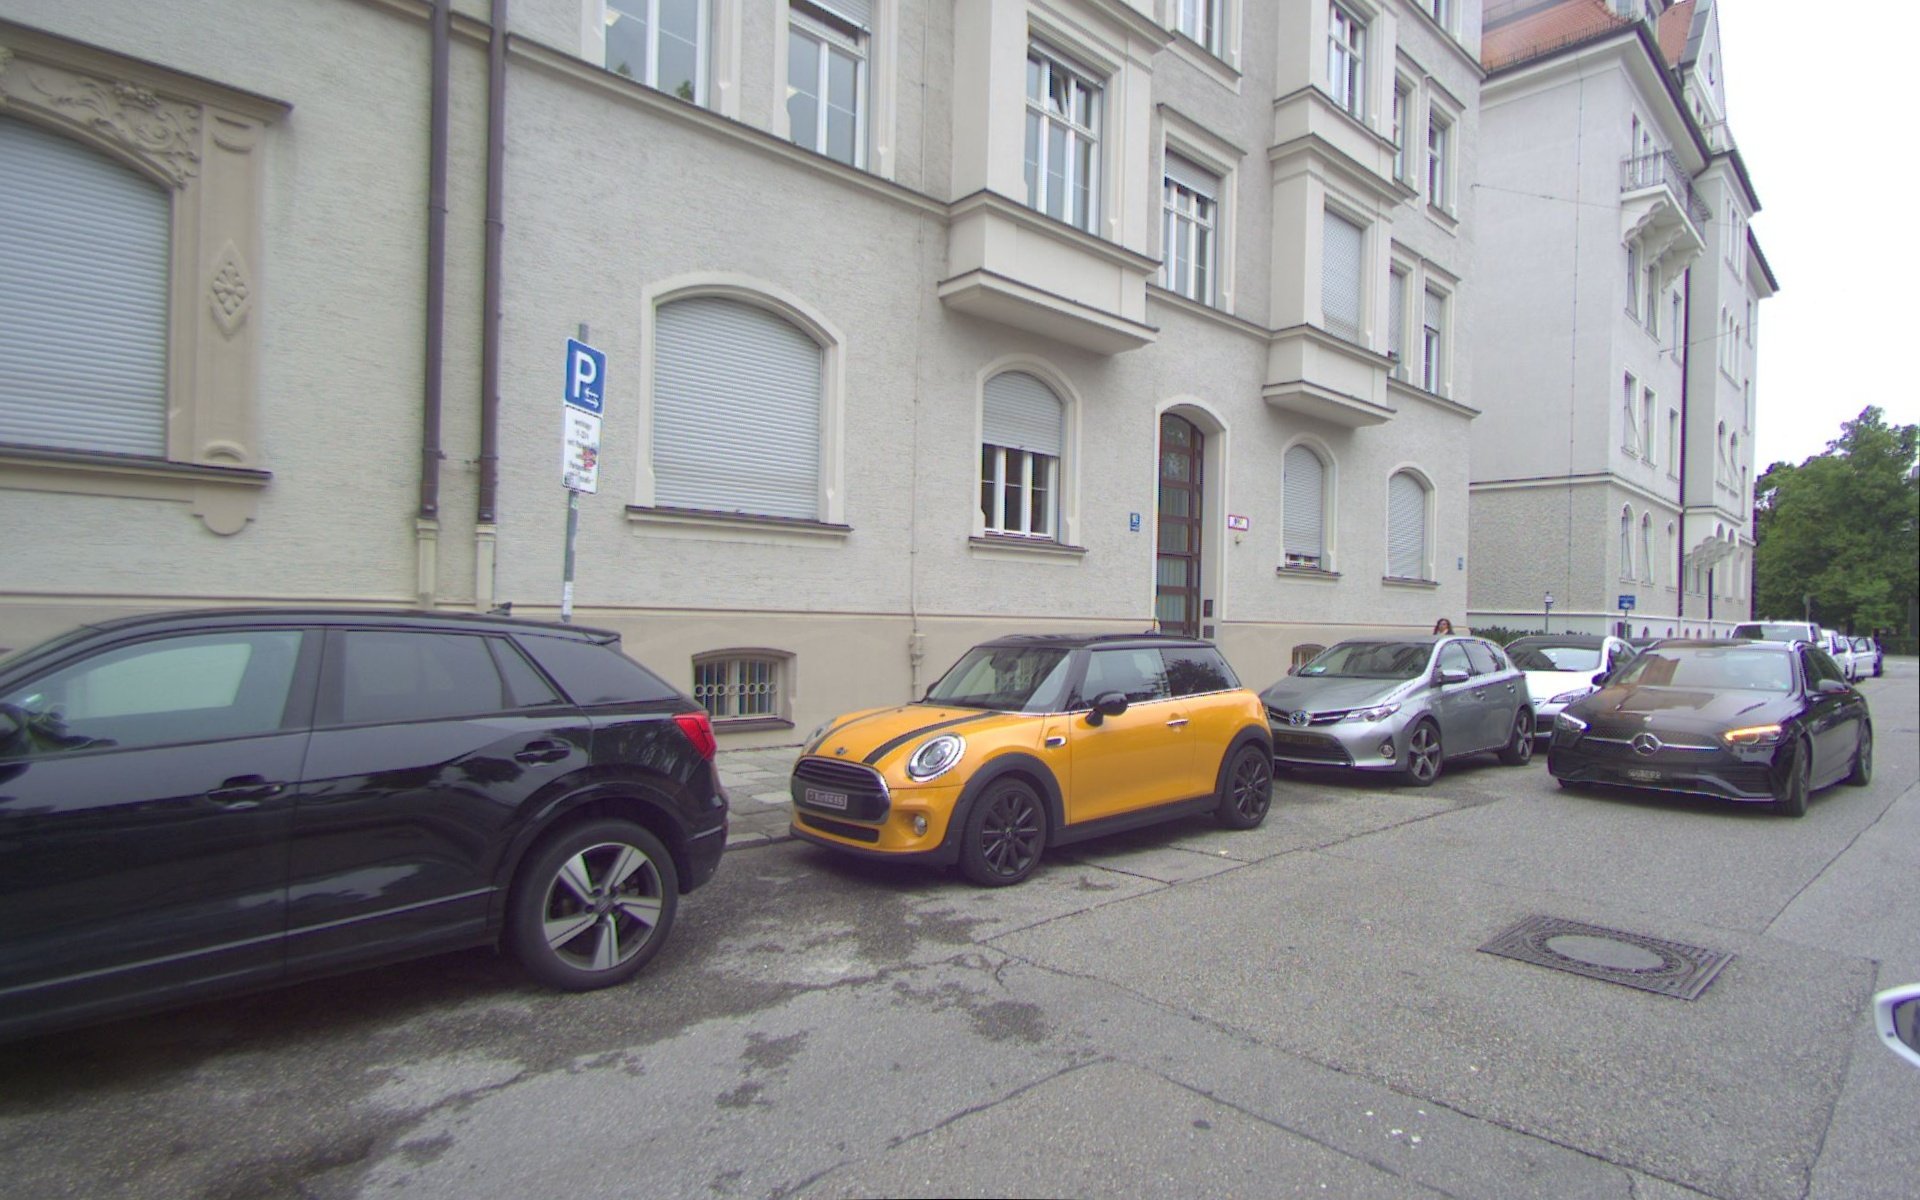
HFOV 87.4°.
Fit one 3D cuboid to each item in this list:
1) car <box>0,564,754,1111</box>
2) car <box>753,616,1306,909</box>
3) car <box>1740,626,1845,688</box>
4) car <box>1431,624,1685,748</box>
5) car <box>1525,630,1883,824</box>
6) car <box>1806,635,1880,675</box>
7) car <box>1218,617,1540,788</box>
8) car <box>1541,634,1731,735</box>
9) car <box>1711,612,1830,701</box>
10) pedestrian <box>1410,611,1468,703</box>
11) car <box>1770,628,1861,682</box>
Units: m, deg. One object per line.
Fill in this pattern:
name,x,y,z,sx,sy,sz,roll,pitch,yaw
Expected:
car,-2.955,0.693,3.711,3.988,1.519,1.738,2,-3,-41
car,0.672,0.914,7.150,3.940,1.519,1.627,1,-3,-41
car,25.854,1.721,31.156,4.384,1.794,1.996,2,-3,-44
car,8.405,1.095,13.976,4.242,1.457,1.820,2,-3,-41
car,7.358,1.026,9.774,4.373,1.447,1.859,1,-1,-40
car,38.217,2.343,43.434,4.384,1.655,1.996,2,-3,-44
car,4.650,0.993,10.898,3.900,1.519,1.711,3,-2,-41
car,11.776,1.360,17.380,4.245,1.519,1.819,2,-3,-43
car,21.569,1.455,26.663,4.674,2.155,1.868,2,-3,-44
pedestrian,9.204,1.080,19.298,0.695,1.701,0.784,2,0,-44
car,29.990,1.889,35.174,4.245,1.748,1.996,2,-3,-44
